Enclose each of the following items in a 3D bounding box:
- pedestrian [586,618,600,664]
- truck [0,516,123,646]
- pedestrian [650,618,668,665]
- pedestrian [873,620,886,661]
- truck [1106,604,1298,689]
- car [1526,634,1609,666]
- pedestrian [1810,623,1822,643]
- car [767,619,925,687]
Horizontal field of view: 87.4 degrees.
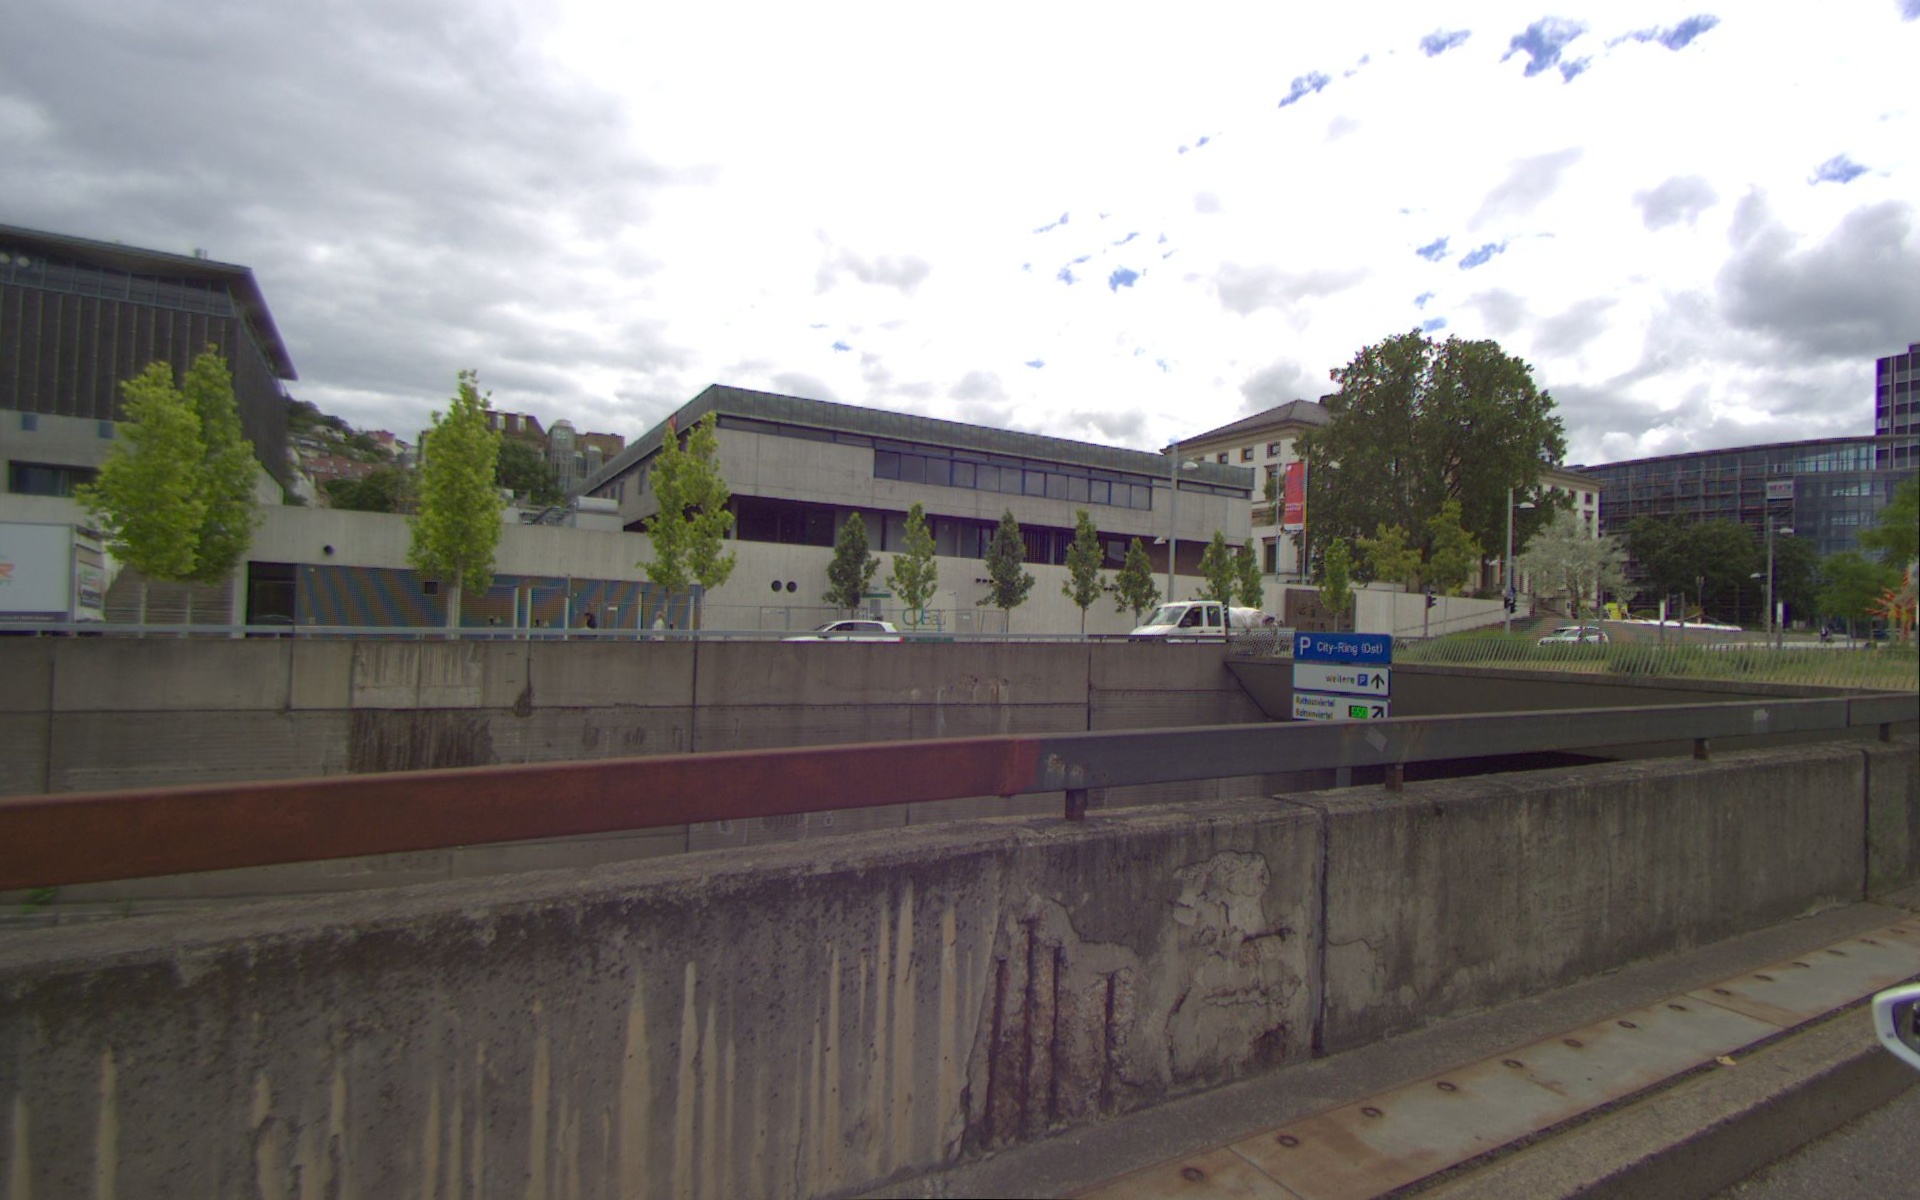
[{"bbox_3d":[-12.409,1.372,33.942,0.314,1.542,0.410,1,0,-35],"label":"pedestrian"},{"bbox_3d":[-23.387,-0.431,22.093,7.170,2.825,3.214,1,0,-31],"label":"truck"},{"bbox_3d":[-10.135,1.394,33.823,0.457,1.542,0.424,1,0,-36],"label":"pedestrian"},{"bbox_3d":[-3.044,1.538,37.989,0.314,1.542,0.315,1,0,-36],"label":"pedestrian"},{"bbox_3d":[8.932,1.620,36.826,6.989,2.854,2.454,1,0,-28],"label":"truck"},{"bbox_3d":[32.424,2.629,53.588,4.555,1.595,1.712,1,0,-28],"label":"car"},{"bbox_3d":[70.530,2.705,82.727,0.643,1.671,0.521,1,0,-31],"label":"pedestrian"},{"bbox_3d":[-3.333,1.489,29.472,4.207,1.840,1.984,1,0,-30],"label":"car"}]
